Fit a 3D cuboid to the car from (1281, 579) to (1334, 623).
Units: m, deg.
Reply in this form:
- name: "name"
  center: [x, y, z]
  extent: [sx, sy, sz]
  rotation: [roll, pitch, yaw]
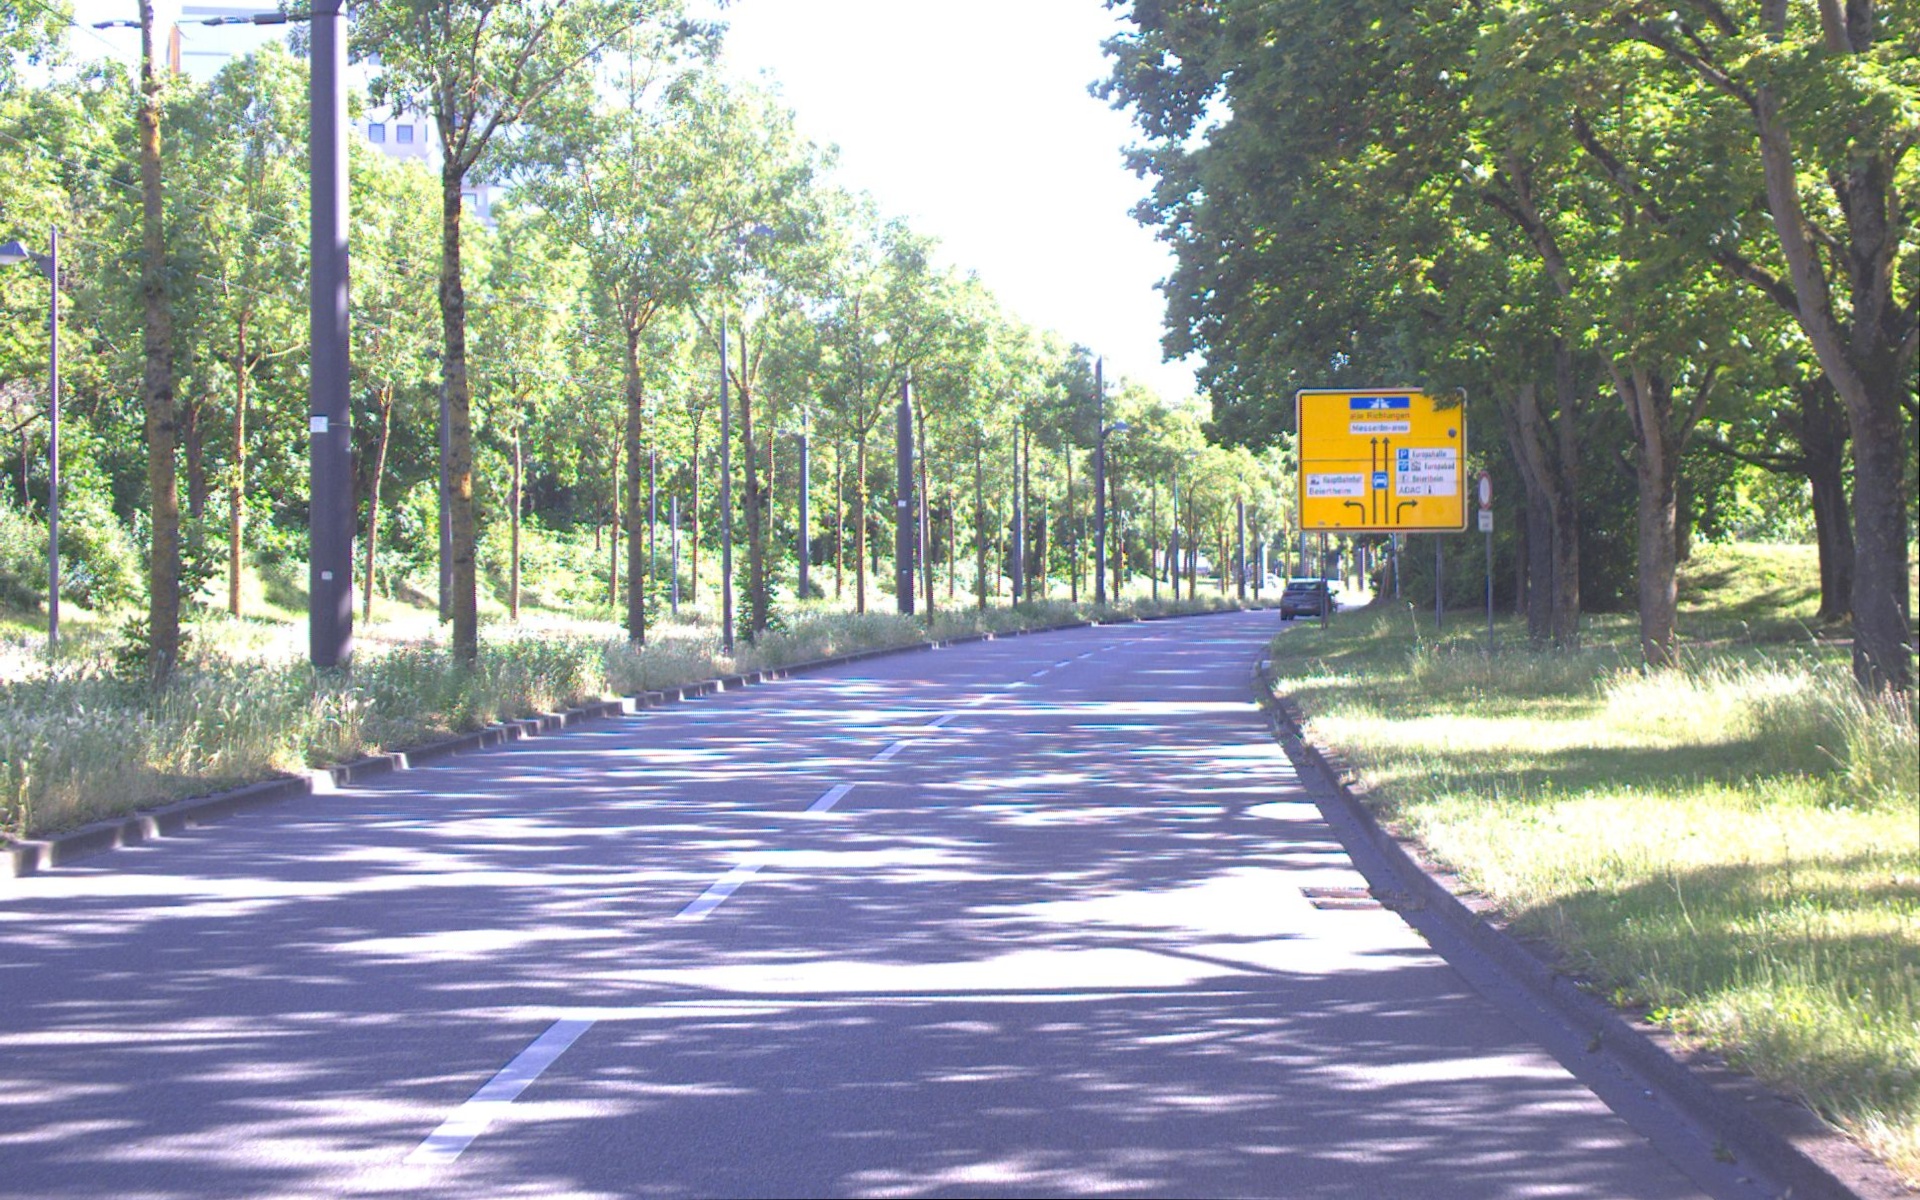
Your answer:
- name: "car"
  center: [12.245, 0.032, 121.010]
  extent: [1.634, 1.493, 4.233]
  rotation: [1, 1, 8]
